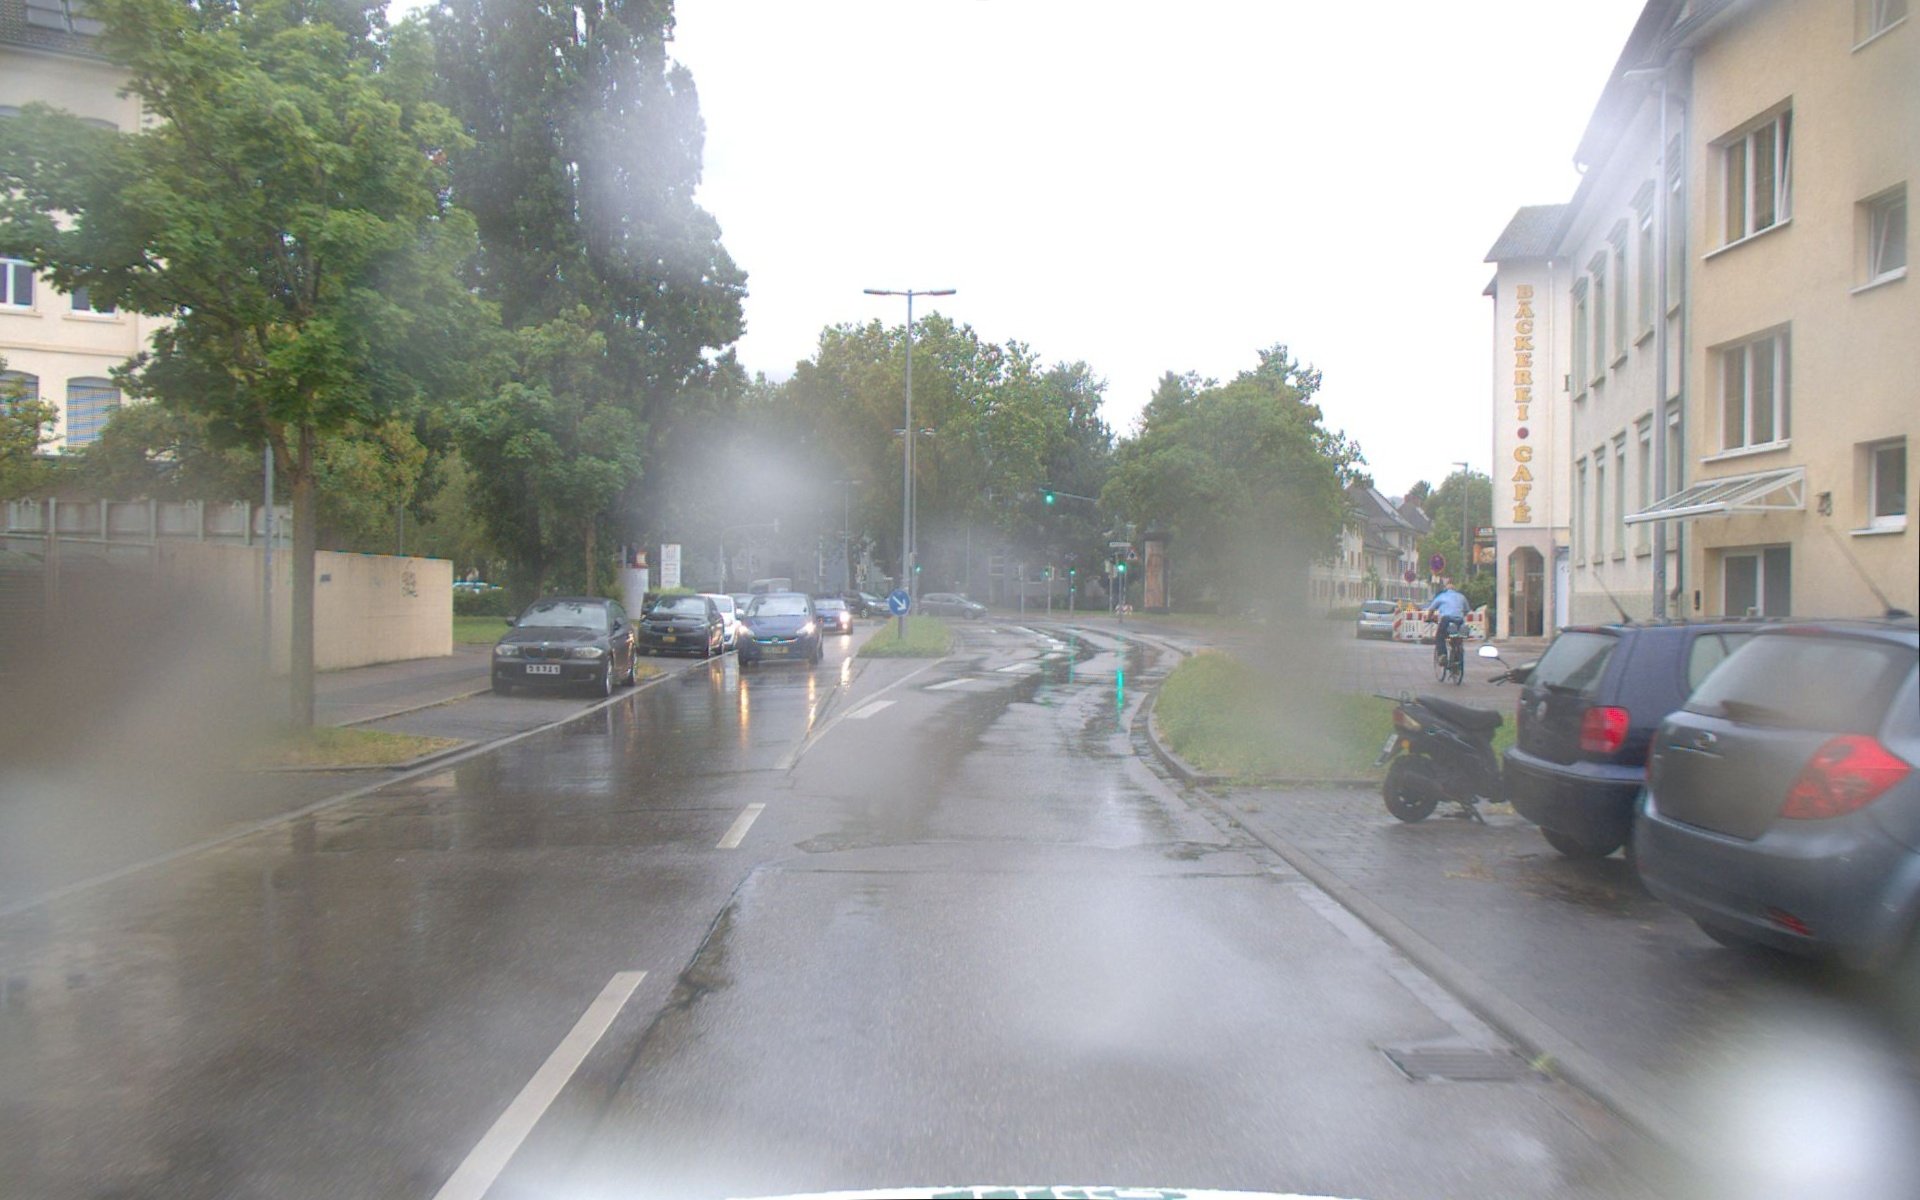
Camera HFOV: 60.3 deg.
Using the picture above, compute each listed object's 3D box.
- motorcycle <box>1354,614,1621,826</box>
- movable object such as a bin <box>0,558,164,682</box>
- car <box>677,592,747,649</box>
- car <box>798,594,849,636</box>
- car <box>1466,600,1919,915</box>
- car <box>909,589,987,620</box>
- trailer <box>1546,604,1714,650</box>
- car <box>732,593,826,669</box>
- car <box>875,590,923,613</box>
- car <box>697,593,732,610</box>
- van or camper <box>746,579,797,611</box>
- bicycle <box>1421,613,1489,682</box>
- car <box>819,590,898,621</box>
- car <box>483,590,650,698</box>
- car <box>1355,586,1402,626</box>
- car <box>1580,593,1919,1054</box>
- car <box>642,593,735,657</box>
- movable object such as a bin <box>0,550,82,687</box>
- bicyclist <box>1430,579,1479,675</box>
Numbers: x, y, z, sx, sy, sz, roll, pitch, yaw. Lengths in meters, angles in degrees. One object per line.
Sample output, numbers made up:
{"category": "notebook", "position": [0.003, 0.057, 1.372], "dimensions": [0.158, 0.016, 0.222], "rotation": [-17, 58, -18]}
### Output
{"category": "motorcycle", "position": [3.547, 0.794, 11.203], "dimensions": [1.557, 1.347, 0.695], "rotation": [1, 1, -2]}
{"category": "movable object such as a bin", "position": [-11.241, 0.239, 20.496], "dimensions": [1.871, 1.449, 1.756], "rotation": [1, 0, 0]}
{"category": "car", "position": [-6.888, 0.545, 46.309], "dimensions": [1.570, 1.500, 4.119], "rotation": [1, 0, -4]}
{"category": "car", "position": [-5.027, 0.548, 61.190], "dimensions": [1.692, 1.418, 3.948], "rotation": [-2, 0, -3]}
{"category": "car", "position": [4.908, 0.798, 9.092], "dimensions": [3.675, 1.480, 1.801], "rotation": [1, 1, -1]}
{"category": "car", "position": [-0.658, 0.249, 92.764], "dimensions": [3.989, 1.630, 2.001], "rotation": [1, 0, 17]}
{"category": "trailer", "position": [20.026, 0.797, 49.498], "dimensions": [4.437, 1.253, 1.820], "rotation": [1, 0, 32]}
{"category": "car", "position": [-3.805, 0.629, 35.266], "dimensions": [1.671, 1.527, 3.944], "rotation": [0, 0, -2]}
{"category": "car", "position": [-4.060, 0.113, 109.571], "dimensions": [1.689, 1.436, 3.607], "rotation": [-2, 1, -31]}
{"category": "car", "position": [-24.200, 0.166, 162.939], "dimensions": [1.897, 1.648, 4.323], "rotation": [1, 0, -32]}
{"category": "van or camper", "position": [-17.327, -0.474, 151.741], "dimensions": [2.293, 2.856, 6.798], "rotation": [1, -1, -29]}
{"category": "bicycle", "position": [8.436, 0.794, 28.257], "dimensions": [0.658, 1.078, 1.973], "rotation": [1, 1, 3]}
{"category": "car", "position": [-5.980, 0.328, 97.462], "dimensions": [4.200, 1.774, 2.001], "rotation": [1, 0, 18]}
{"category": "car", "position": [-5.916, 0.630, 25.322], "dimensions": [1.661, 1.470, 4.096], "rotation": [2, 0, -2]}
{"category": "car", "position": [16.273, 0.245, 64.436], "dimensions": [1.599, 1.458, 4.180], "rotation": [1, 0, 12]}
{"category": "car", "position": [4.786, 0.769, 6.474], "dimensions": [3.970, 1.480, 1.934], "rotation": [1, 1, -1]}
{"category": "car", "position": [-6.516, 0.587, 40.093], "dimensions": [1.692, 1.407, 4.177], "rotation": [2, 0, -3]}
{"category": "movable object such as a bin", "position": [-11.039, 0.191, 18.404], "dimensions": [1.527, 1.467, 1.831], "rotation": [1, 0, 0]}
{"category": "bicyclist", "position": [8.455, 0.455, 28.280], "dimensions": [0.625, 1.610, 0.716], "rotation": [1, 0, 3]}
